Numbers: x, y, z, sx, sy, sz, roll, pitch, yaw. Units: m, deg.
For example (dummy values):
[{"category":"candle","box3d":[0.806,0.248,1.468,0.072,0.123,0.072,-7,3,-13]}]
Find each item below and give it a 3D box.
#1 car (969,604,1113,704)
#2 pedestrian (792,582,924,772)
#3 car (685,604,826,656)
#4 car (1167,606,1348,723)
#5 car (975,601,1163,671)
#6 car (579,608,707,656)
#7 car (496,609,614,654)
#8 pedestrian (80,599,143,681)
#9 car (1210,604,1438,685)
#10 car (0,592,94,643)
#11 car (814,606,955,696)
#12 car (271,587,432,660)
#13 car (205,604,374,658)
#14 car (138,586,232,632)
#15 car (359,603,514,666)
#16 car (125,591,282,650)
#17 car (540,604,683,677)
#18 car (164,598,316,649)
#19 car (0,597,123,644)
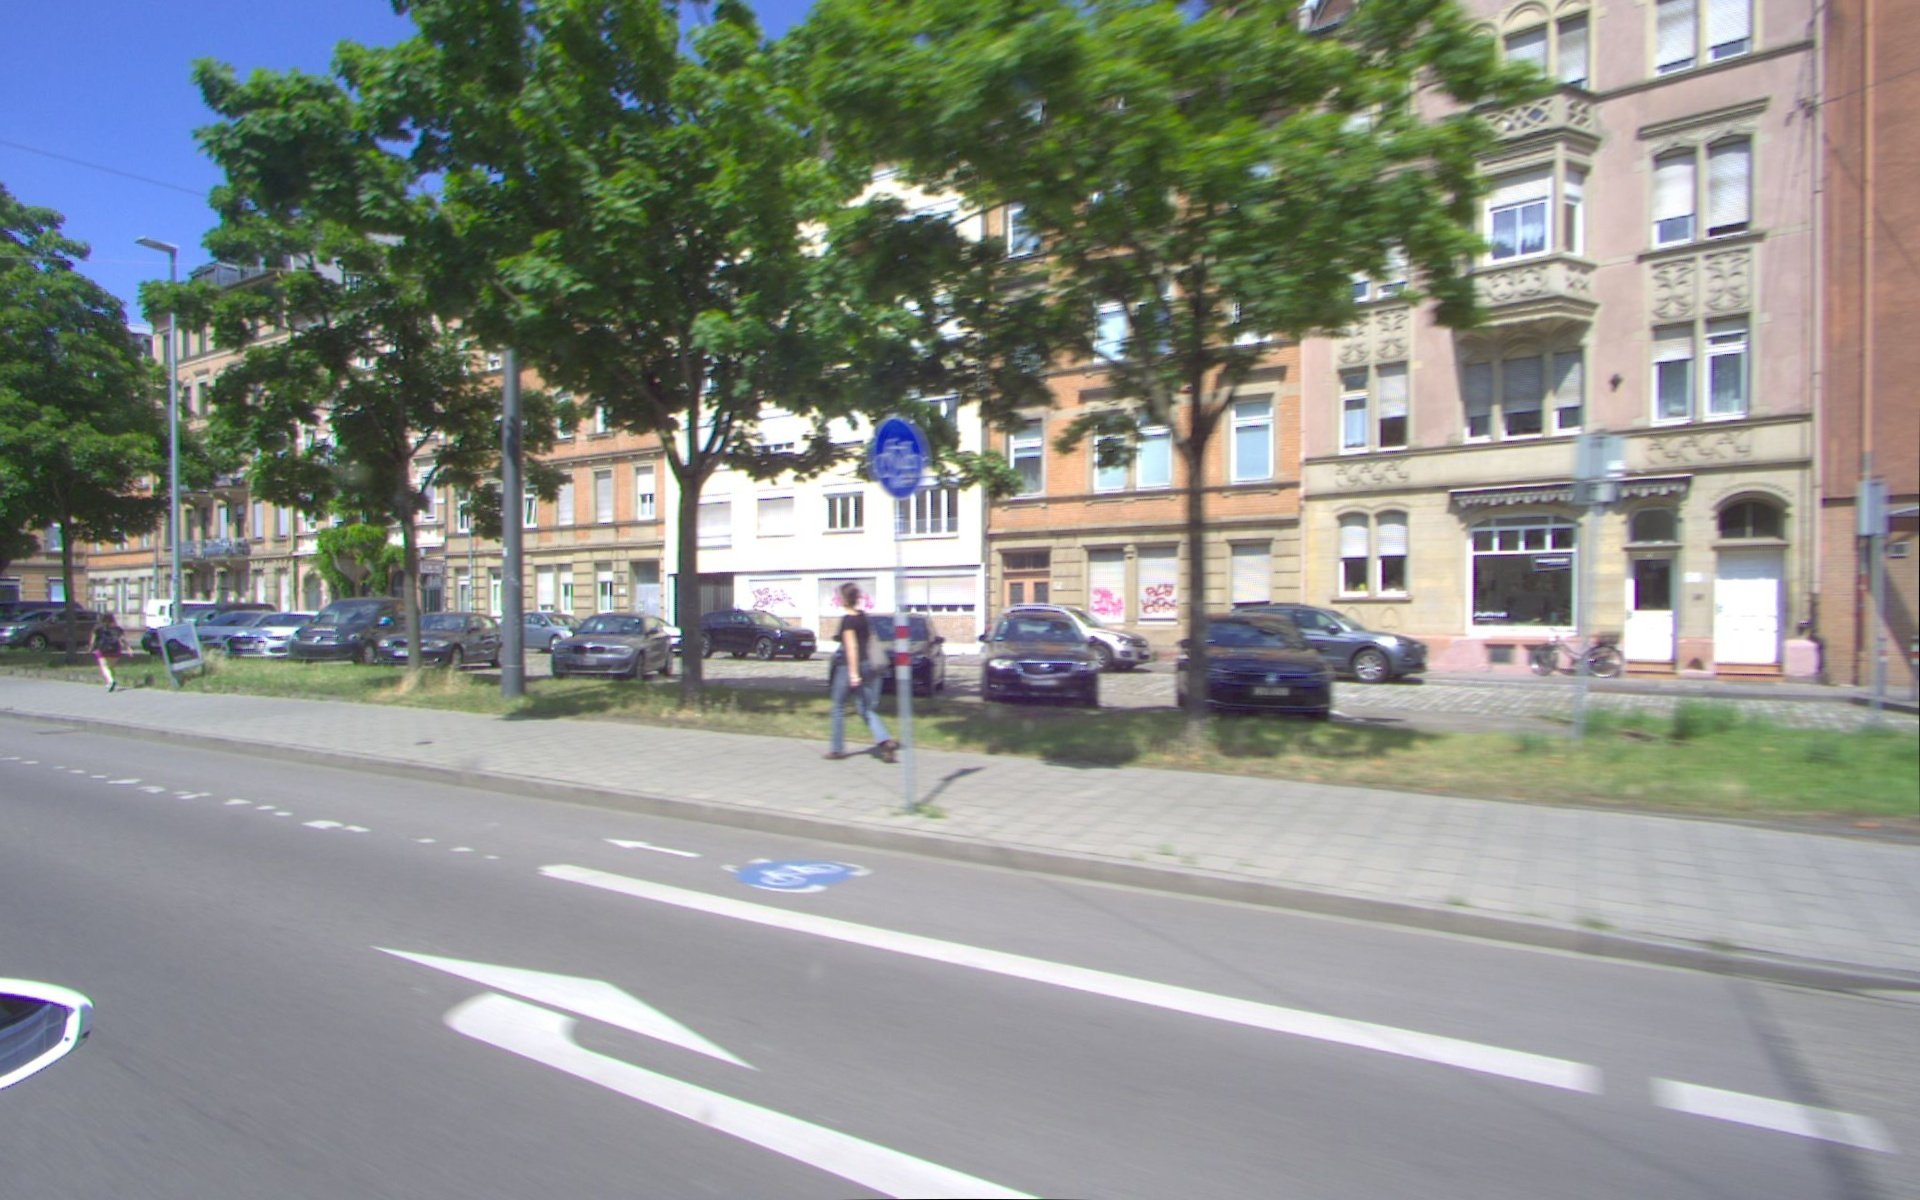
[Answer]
[{"category":"car","box3d":[1.159,0.830,16.065,1.923,1.398,4.002,0,-2,-1]},{"category":"pedestrian","box3d":[-0.982,0.703,9.690,1.029,1.728,0.699,0,3,31]},{"category":"car","box3d":[-6.322,0.921,30.806,4.167,1.510,1.829,-1,-2,33]},{"category":"car","box3d":[3.930,0.826,13.880,1.924,1.371,4.000,0,-2,10]},{"category":"car","box3d":[2.731,0.911,25.469,4.432,1.636,1.829,-1,-2,33]},{"category":"car","box3d":[-10.523,1.063,33.163,4.167,1.510,1.829,-1,-2,33]},{"category":"car","box3d":[-14.415,1.106,35.585,4.167,1.510,1.829,-1,-2,33]},{"category":"pedestrian","box3d":[-17.153,0.809,20.240,0.892,1.612,0.699,0,-1,31]},{"category":"car","box3d":[7.983,0.954,22.145,4.436,1.636,1.827,-1,-2,35]},{"category":"car","box3d":[-37.624,0.710,40.047,1.879,1.952,4.632,0,-2,1]},{"category":"car","box3d":[-1.210,0.873,17.814,1.923,1.398,4.002,0,-2,4]},{"category":"car","box3d":[-16.019,0.653,26.655,1.816,1.763,4.367,1,-2,-4]},{"category":"car","box3d":[-19.045,0.899,28.751,1.816,1.398,4.695,0,-2,-2]},{"category":"car","box3d":[-39.606,0.495,51.153,5.317,2.206,2.107,-1,-2,33]},{"category":"car","box3d":[-12.737,0.858,24.697,1.816,1.398,4.271,1,-2,-4]},{"category":"car","box3d":[-24.243,0.704,32.317,1.816,1.763,4.152,0,-2,2]},{"category":"car","box3d":[-7.325,0.860,21.511,1.816,1.398,4.271,1,-2,-4]},{"category":"car","box3d":[-21.832,0.740,30.596,1.816,1.423,4.087,1,-2,-3]},{"category":"car","box3d":[-35.068,0.816,38.580,1.879,1.677,4.176,0,-2,5]}]
